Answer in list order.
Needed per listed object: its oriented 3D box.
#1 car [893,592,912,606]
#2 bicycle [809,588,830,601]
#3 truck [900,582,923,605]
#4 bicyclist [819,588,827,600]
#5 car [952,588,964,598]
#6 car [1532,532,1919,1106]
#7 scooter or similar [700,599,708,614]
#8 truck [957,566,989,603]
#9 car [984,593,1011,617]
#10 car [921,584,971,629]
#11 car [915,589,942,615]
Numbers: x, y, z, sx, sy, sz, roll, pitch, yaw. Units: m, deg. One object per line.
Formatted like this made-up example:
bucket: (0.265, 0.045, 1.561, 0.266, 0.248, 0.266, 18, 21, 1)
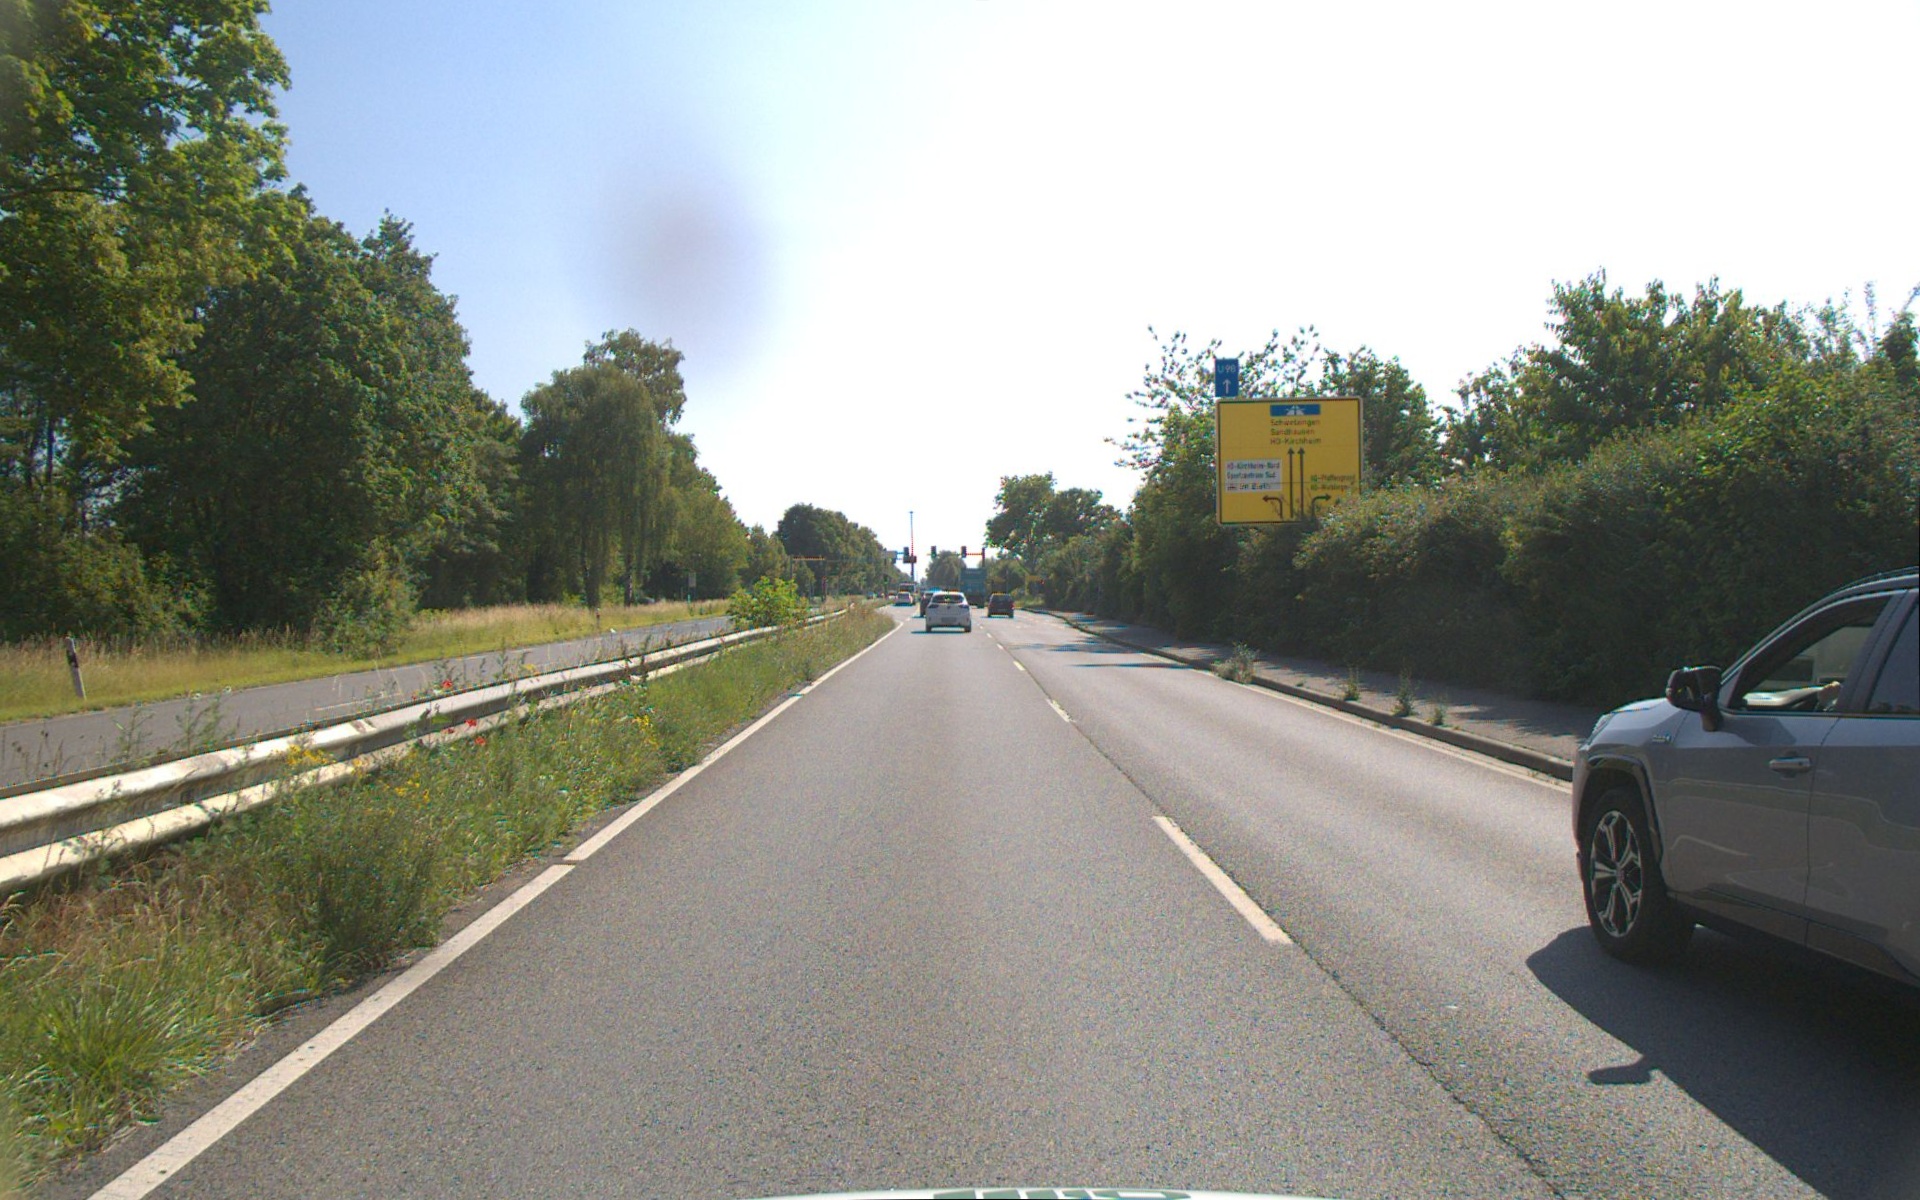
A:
car: (-6.107, -0.123, 176.133, 1.775, 1.490, 4.971, 1, 0, 0)
bicycle: (-19.298, -0.730, 227.074, 2.737, 1.699, 1.135, -1, 0, 26)
truck: (-5.338, -0.744, 183.123, 2.325, 2.430, 6.041, 1, 1, 1)
bicyclist: (-18.847, -0.880, 226.851, 0.845, 1.647, 0.757, 0, 0, 27)
car: (-0.288, -1.022, 248.036, 1.775, 1.490, 4.460, -2, 0, 1)
car: (3.784, 0.658, 5.769, 1.863, 1.709, 4.682, 1, 0, -1)
scooter or similar: (-20.221, 0.503, 130.628, 0.360, 1.206, 1.340, -3, 0, -1)
truck: (1.245, -1.504, 162.164, 2.833, 3.488, 9.167, -1, 1, -1)
car: (2.314, 0.306, 102.242, 1.540, 1.439, 3.277, 0, 0, -1)
car: (-0.510, 0.214, 61.369, 1.762, 1.580, 4.000, 0, 1, 0)
car: (-1.825, 0.119, 95.778, 1.540, 1.439, 3.277, 1, 1, -1)
